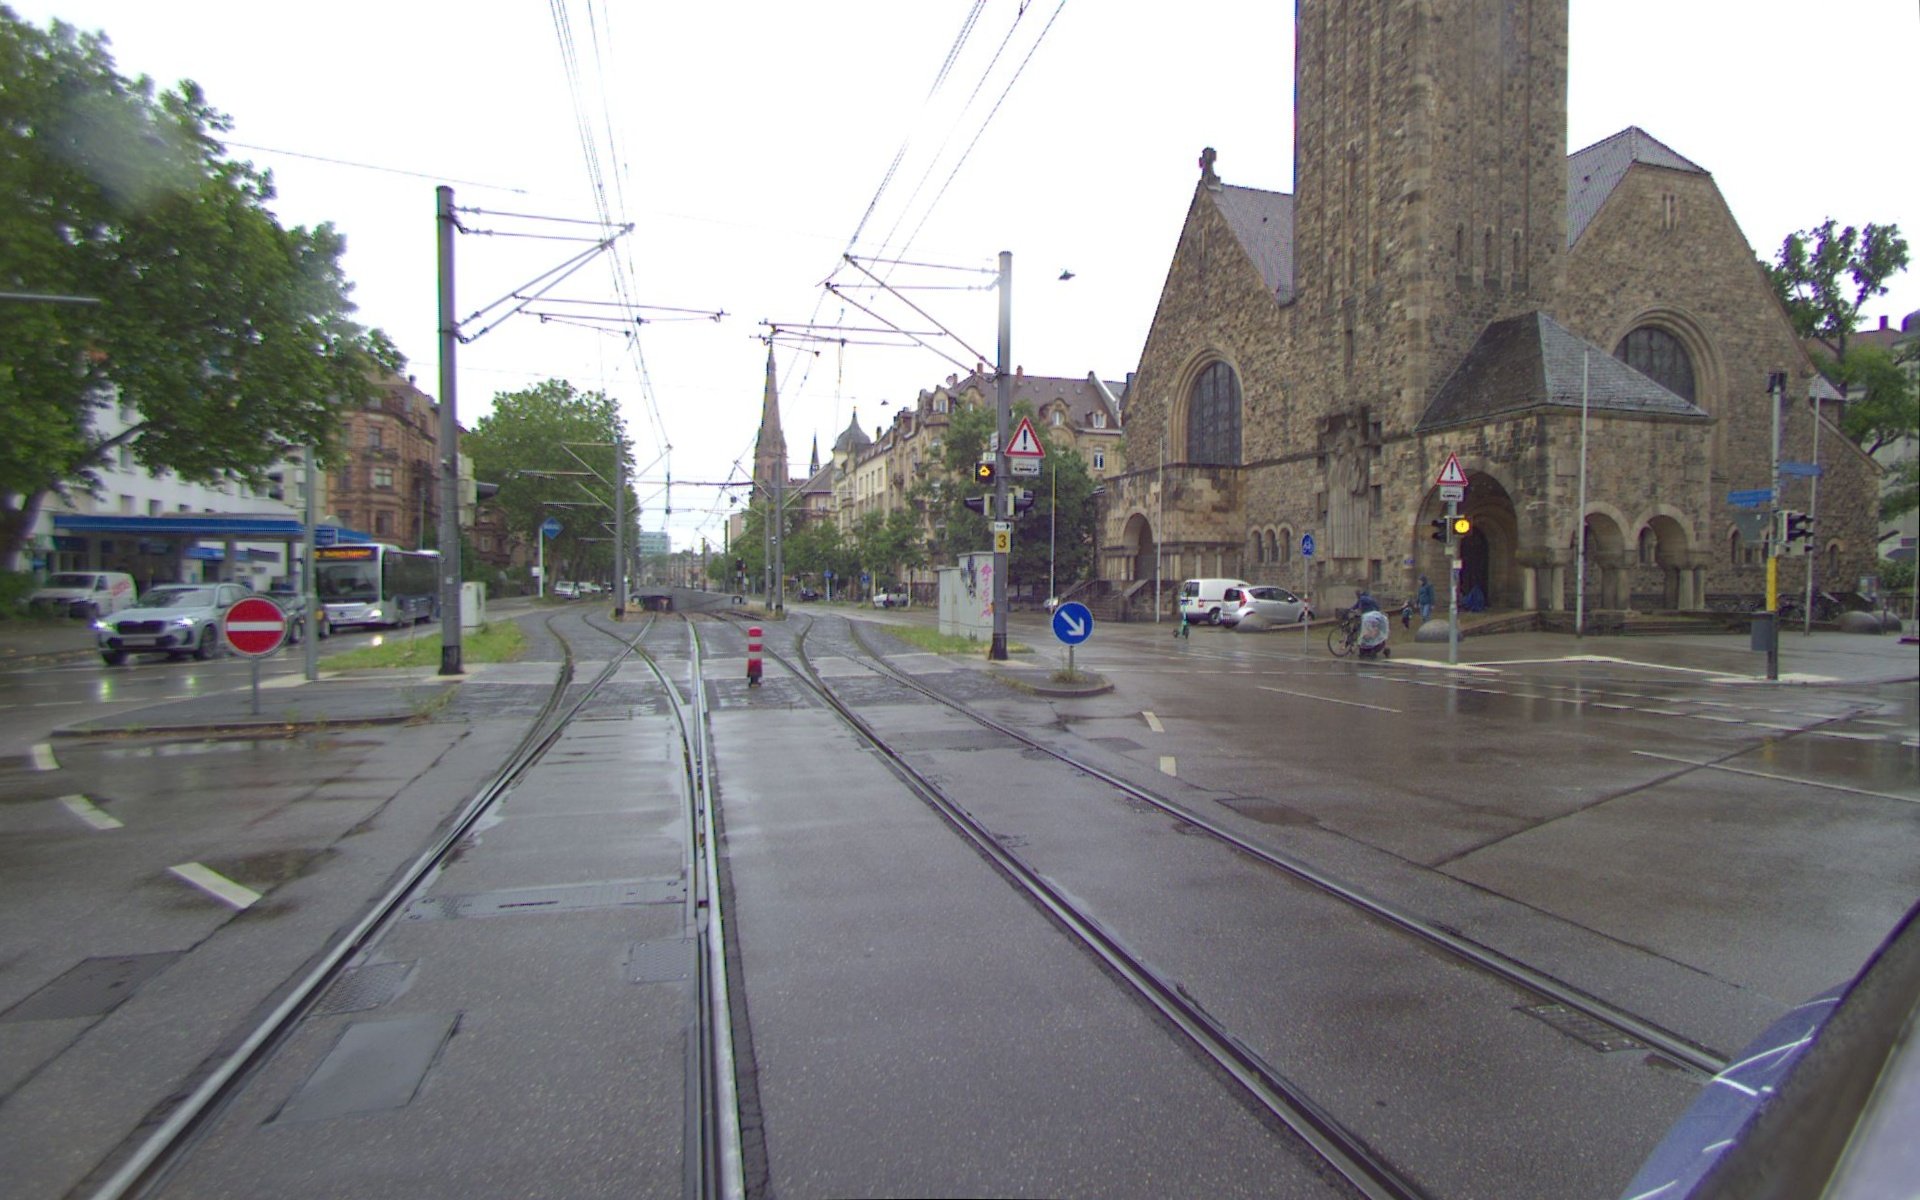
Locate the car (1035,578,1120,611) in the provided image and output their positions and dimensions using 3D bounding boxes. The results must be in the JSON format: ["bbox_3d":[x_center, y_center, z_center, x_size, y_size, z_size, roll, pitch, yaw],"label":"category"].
[{"bbox_3d":[6.103,-0.310,52.854,3.916,1.638,2.004,-1,1,-17],"label":"car"}]

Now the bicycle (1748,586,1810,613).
[{"bbox_3d":[33.386,-0.031,41.271,0.569,1.073,1.932,0,1,-22],"label":"bicycle"}]

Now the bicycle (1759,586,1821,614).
[{"bbox_3d":[34.022,-0.020,41.515,0.569,1.073,1.932,0,1,-20],"label":"bicycle"}]

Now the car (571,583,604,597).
[{"bbox_3d":[-45.971,-1.223,124.844,3.740,1.644,1.780,0,1,-18],"label":"car"}]

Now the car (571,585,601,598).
[{"bbox_3d":[-49.566,-1.164,134.174,3.740,1.644,1.780,0,1,-18],"label":"car"}]

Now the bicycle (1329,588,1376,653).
[{"bbox_3d":[9.456,0.459,24.352,0.530,1.485,1.913,0,1,38],"label":"bicycle"}]

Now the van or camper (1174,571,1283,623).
[{"bbox_3d":[10.719,-0.159,40.409,3.849,1.749,1.652,-4,2,-18],"label":"van or camper"}]

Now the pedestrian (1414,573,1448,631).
[{"bbox_3d":[14.058,0.045,30.201,0.664,1.724,0.635,0,0,-21],"label":"pedestrian"}]

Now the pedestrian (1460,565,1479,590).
[{"bbox_3d":[18.468,-0.802,36.683,0.447,0.895,0.397,0,1,-19],"label":"pedestrian"}]

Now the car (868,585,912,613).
[{"bbox_3d":[-4.806,-0.109,68.796,1.939,1.816,4.009,-1,1,-21],"label":"car"}]

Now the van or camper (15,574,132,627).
[{"bbox_3d":[-34.514,-0.026,39.559,1.958,1.939,4.680,0,1,-21],"label":"van or camper"}]

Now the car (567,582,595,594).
[{"bbox_3d":[-53.989,-1.765,144.254,3.740,1.644,1.780,0,1,-18],"label":"car"}]

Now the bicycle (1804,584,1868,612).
[{"bbox_3d":[36.453,-0.094,42.156,0.593,1.080,1.987,0,1,-19],"label":"bicycle"}]

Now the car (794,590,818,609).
[{"bbox_3d":[-15.642,-0.064,102.815,1.744,1.799,4.009,-1,1,-18],"label":"car"}]

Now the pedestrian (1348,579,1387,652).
[{"bbox_3d":[9.608,0.357,23.879,0.676,1.684,0.604,0,0,-38],"label":"pedestrian"}]

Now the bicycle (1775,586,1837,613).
[{"bbox_3d":[34.798,-0.032,41.648,0.569,1.073,1.932,0,1,-20],"label":"bicycle"}]

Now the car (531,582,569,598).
[{"bbox_3d":[-43.389,-1.092,107.144,3.740,1.644,1.780,0,1,-20],"label":"car"}]

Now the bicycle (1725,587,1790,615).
[{"bbox_3d":[32.333,0.014,41.059,0.565,1.062,2.013,0,1,-24],"label":"bicycle"}]

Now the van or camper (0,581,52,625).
[{"bbox_3d":[-37.002,0.095,38.650,1.958,1.619,4.680,0,1,-21],"label":"van or camper"}]

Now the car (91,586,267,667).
[{"bbox_3d":[-17.444,0.501,22.889,1.754,1.619,4.565,0,1,-18],"label":"car"}]

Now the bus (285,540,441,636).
[{"bbox_3d":[-22.831,-0.494,39.513,2.832,3.152,12.128,0,1,-19],"label":"bus"}]

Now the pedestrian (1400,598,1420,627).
[{"bbox_3d":[14.121,0.377,31.757,0.388,0.895,0.457,0,1,-21],"label":"pedestrian"}]

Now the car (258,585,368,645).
[{"bbox_3d":[-18.669,0.376,29.393,1.741,1.619,4.187,0,1,-18],"label":"car"}]

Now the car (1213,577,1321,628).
[{"bbox_3d":[11.237,0.053,37.079,3.289,1.593,1.740,-4,2,-15],"label":"car"}]

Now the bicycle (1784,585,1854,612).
[{"bbox_3d":[35.514,-0.083,41.863,0.664,1.073,2.161,0,1,-20],"label":"bicycle"}]

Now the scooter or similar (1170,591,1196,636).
[{"bbox_3d":[7.109,0.411,32.249,0.280,1.404,1.106,0,0,-19],"label":"scooter or similar"}]

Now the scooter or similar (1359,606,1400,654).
[{"bbox_3d":[9.709,0.676,23.426,0.907,1.062,0.514,0,1,-39],"label":"scooter or similar"}]
